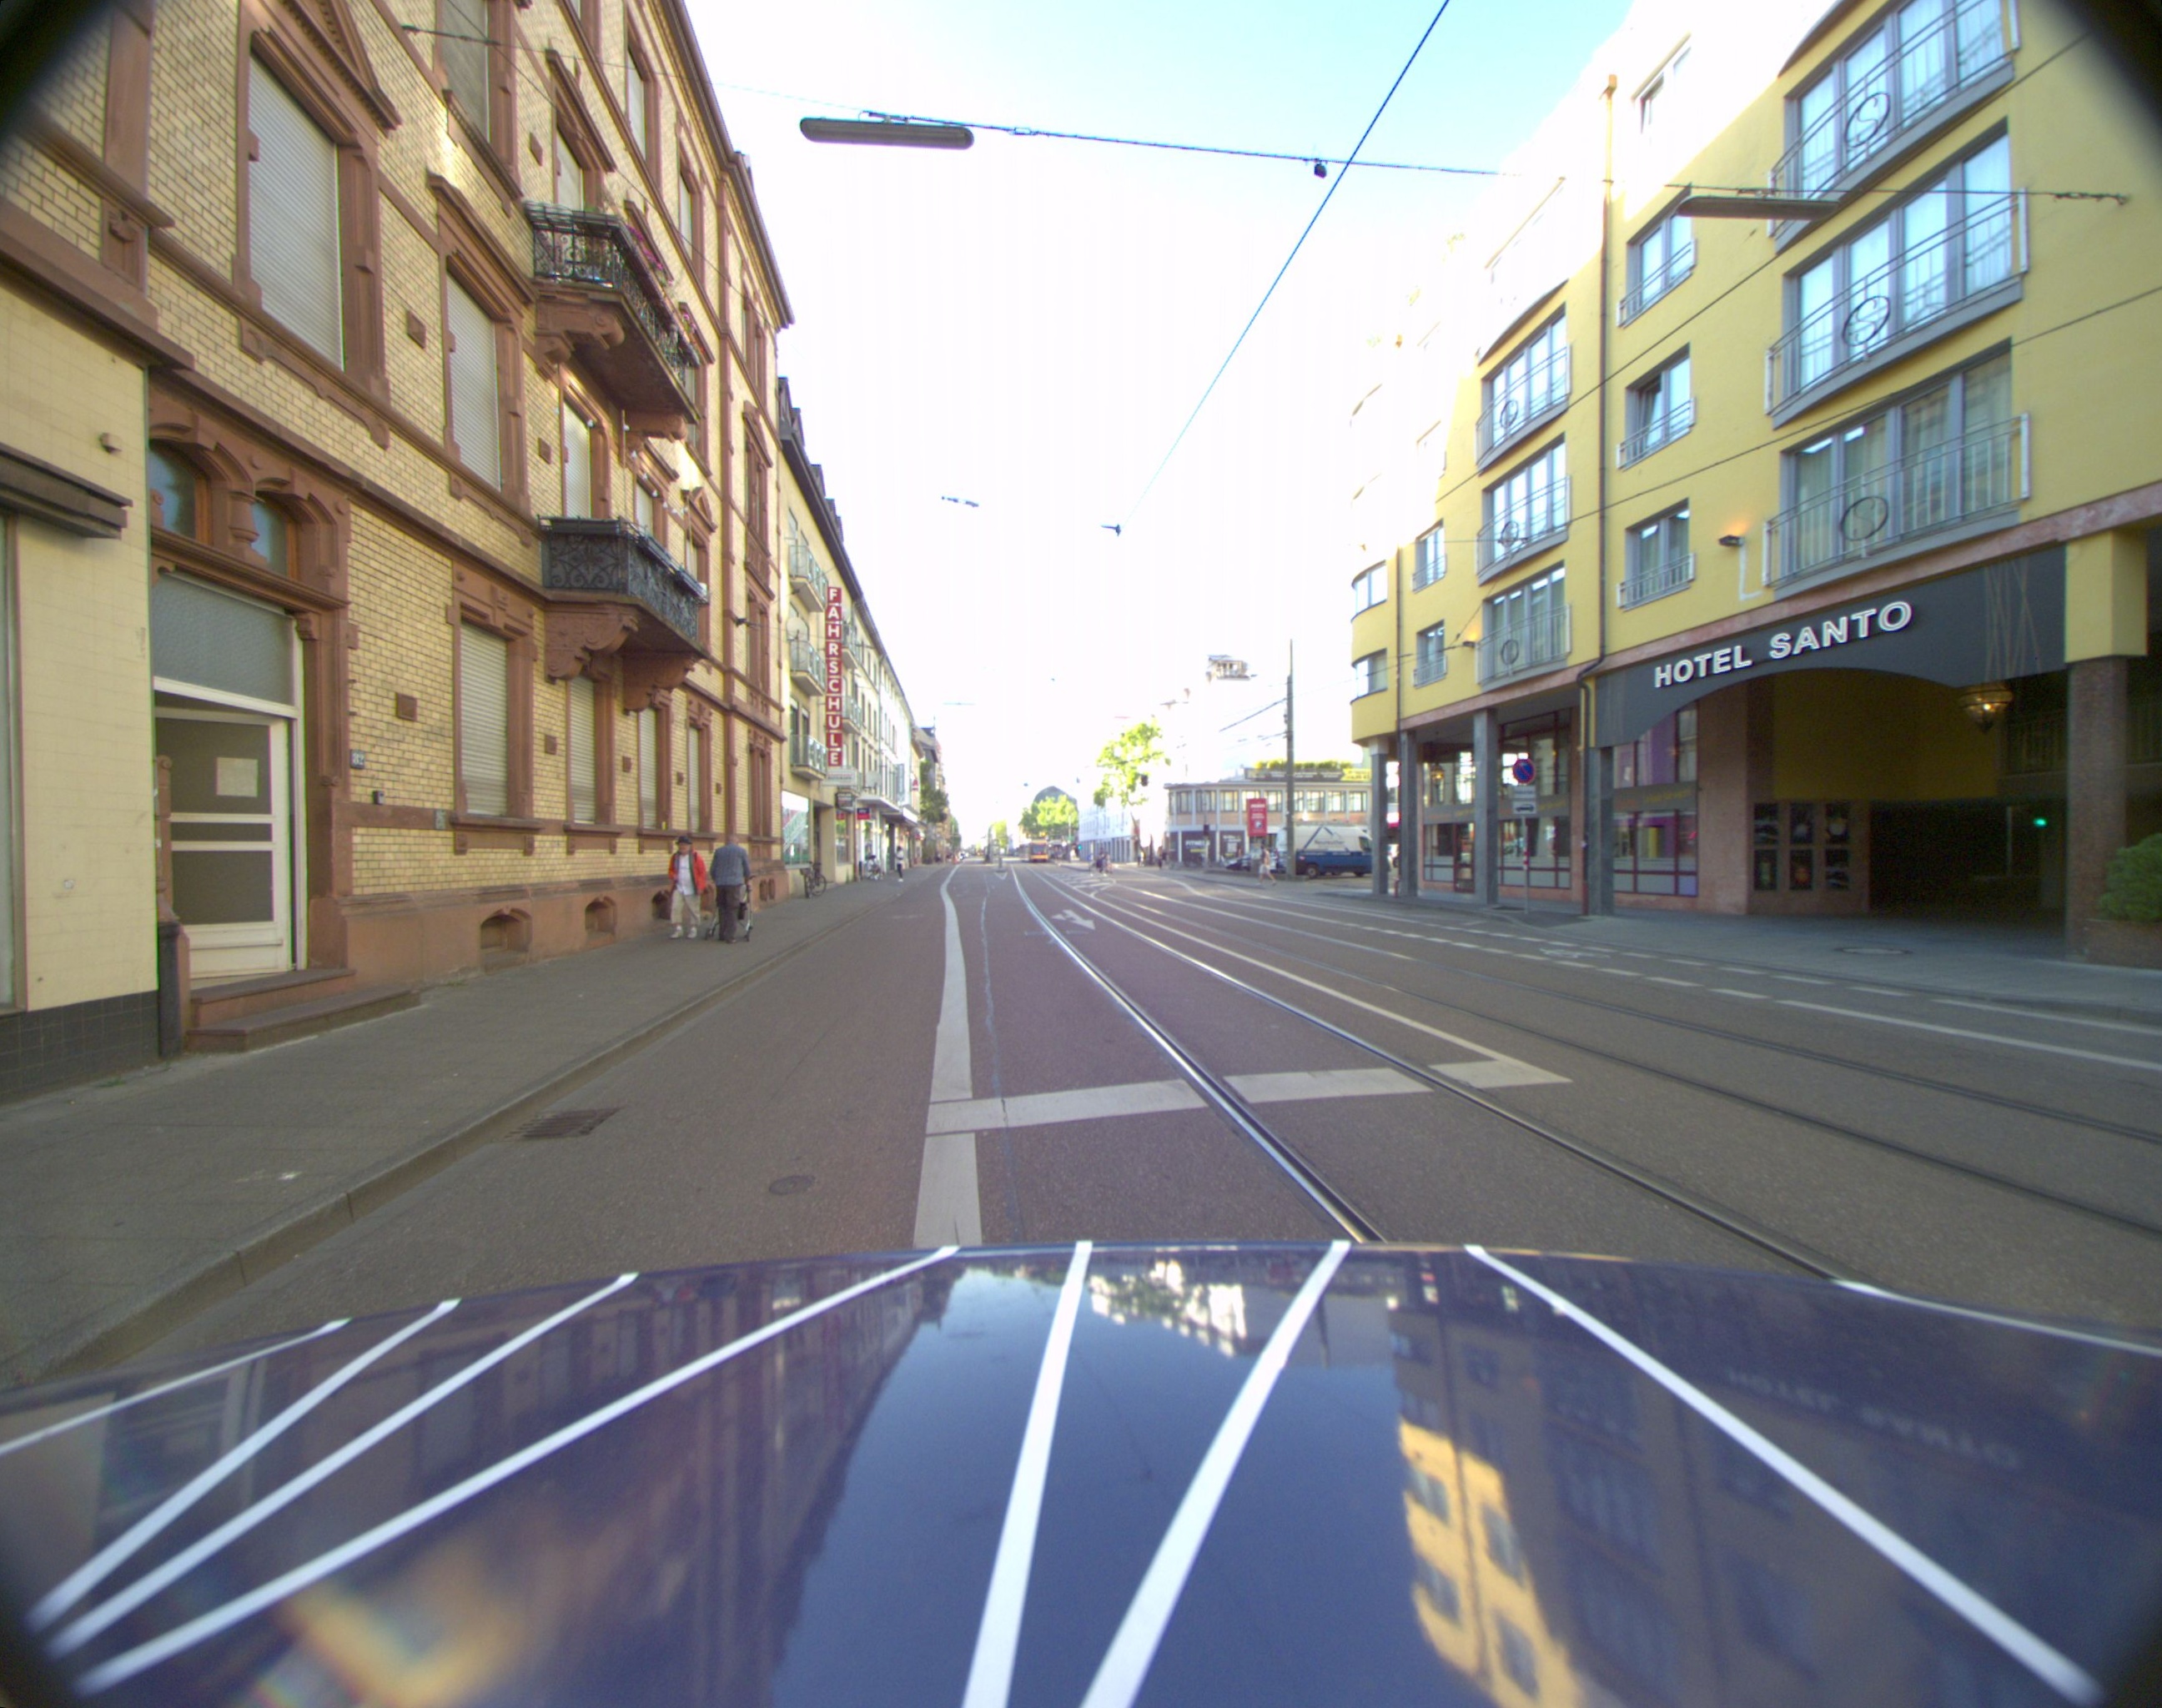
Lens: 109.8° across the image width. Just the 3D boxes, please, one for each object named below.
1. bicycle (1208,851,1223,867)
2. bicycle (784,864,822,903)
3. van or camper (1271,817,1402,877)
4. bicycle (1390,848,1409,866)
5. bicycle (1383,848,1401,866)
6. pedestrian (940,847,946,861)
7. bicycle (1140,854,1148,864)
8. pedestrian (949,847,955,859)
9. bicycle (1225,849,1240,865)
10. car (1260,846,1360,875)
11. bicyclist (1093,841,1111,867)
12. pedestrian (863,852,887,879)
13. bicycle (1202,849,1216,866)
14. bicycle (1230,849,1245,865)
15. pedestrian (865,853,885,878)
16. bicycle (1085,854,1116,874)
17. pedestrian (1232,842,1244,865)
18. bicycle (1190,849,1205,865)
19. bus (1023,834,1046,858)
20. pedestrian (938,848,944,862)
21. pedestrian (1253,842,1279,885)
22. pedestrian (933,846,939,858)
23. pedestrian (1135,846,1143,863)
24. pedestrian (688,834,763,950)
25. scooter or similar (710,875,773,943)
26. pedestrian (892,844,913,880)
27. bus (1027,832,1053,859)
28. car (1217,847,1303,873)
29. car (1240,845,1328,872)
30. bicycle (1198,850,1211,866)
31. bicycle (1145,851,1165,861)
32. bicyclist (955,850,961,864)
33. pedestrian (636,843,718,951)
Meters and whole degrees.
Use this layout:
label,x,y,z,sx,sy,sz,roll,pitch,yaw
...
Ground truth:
label,x,y,z,sx,sy,sz,roll,pitch,yaw
bicycle,10.040,0.363,56.811,0.444,1.180,1.830,0,0,-11
bicycle,-8.333,0.858,22.894,0.557,1.055,2.309,2,0,-7
van or camper,12.424,-0.327,37.109,5.624,2.810,2.313,0,0,-7
bicycle,20.590,0.185,49.098,0.432,1.180,1.831,0,0,-1
bicycle,20.082,0.191,49.073,0.432,1.180,1.831,0,0,-1
pedestrian,-17.665,0.051,97.016,0.651,1.760,0.696,-1,1,-3
bicycle,6.230,0.470,75.415,0.389,0.907,1.850,-2,1,-7
pedestrian,-19.575,-0.216,115.359,0.808,1.789,0.761,-1,1,-8
bicycle,11.117,0.239,55.760,0.449,1.180,1.830,0,0,-11
car,11.910,0.326,39.660,4.603,1.467,1.878,0,0,-7
bicyclist,1.277,-0.025,46.850,0.839,1.541,0.689,-1,4,-27
pedestrian,-10.298,0.576,37.926,0.833,1.248,0.704,6,-1,-43
bicycle,9.577,0.260,56.875,0.449,1.180,1.830,0,0,-11
bicycle,11.546,0.241,56.112,0.449,1.180,1.830,0,0,-11
pedestrian,-10.574,0.586,38.969,0.708,1.167,1.013,5,-1,-27
bicycle,1.198,0.622,46.852,1.834,1.164,0.681,-1,4,-27
pedestrian,11.381,-0.040,55.089,0.683,1.687,0.683,0,0,-10
bicycle,8.691,0.225,56.793,0.447,1.180,1.829,0,0,-14
bus,-7.516,-1.248,120.967,2.820,3.547,13.668,-1,1,-7
pedestrian,-17.803,0.093,96.839,0.651,1.706,0.805,-1,1,-15
pedestrian,8.079,0.403,33.203,0.836,1.822,0.908,0,0,-8
pedestrian,-18.471,-0.225,96.679,0.651,1.569,0.682,-1,1,-15
pedestrian,5.864,0.041,76.601,0.630,1.706,0.826,0,1,20
pedestrian,-5.731,0.604,12.300,0.808,1.789,0.761,3,0,-8
scooter or similar,-5.768,0.929,12.930,0.808,1.064,0.521,4,0,-8
pedestrian,-9.197,0.428,39.220,0.706,1.801,0.680,5,0,8
bus,-5.945,-1.132,107.680,2.820,3.547,13.668,-1,1,-7
car,11.159,0.354,47.470,4.910,1.574,1.878,0,0,-7
car,11.846,0.255,44.374,4.603,1.467,1.878,0,0,-7
bicycle,9.212,0.266,56.626,0.441,1.180,1.830,0,0,-8
bicycle,7.361,0.165,75.658,1.850,0.906,0.389,-2,-3,-3
bicyclist,-15.004,0.374,92.458,0.677,1.604,0.836,-1,1,-9
pedestrian,-6.447,0.675,12.180,0.800,1.618,0.825,5,-1,-7
